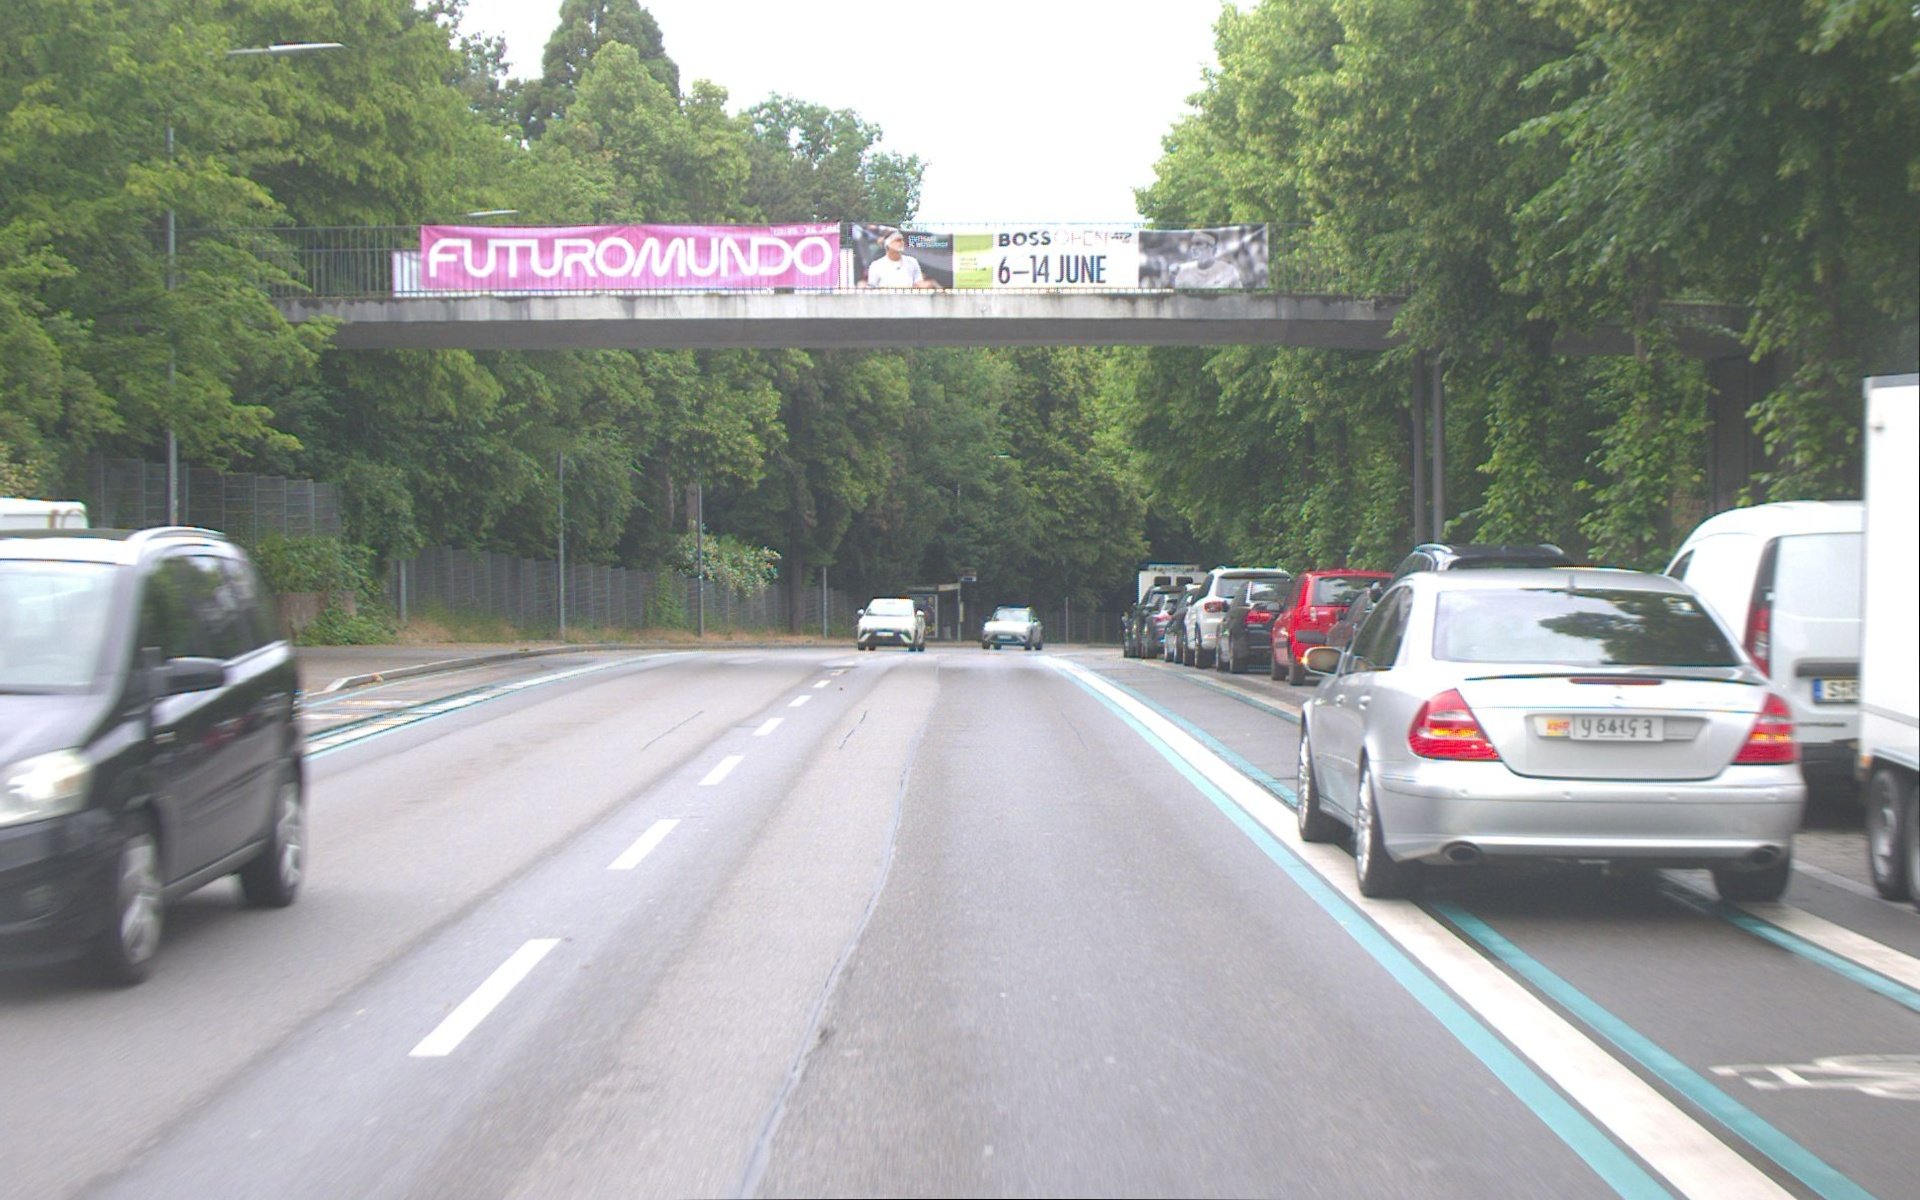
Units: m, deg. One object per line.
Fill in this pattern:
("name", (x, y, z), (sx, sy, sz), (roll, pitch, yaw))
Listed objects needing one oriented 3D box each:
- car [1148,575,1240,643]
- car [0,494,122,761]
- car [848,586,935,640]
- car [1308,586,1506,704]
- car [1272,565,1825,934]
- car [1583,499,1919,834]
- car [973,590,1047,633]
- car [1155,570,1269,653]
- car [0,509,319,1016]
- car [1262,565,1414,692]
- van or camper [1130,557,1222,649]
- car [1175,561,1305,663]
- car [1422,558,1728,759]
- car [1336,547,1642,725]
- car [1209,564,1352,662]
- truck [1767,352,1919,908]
("car", (4.928, 0.210, 72.823), (1.775, 1.344, 4.466), (1, -1, 2))
("car", (-7.818, 0.181, 25.004), (1.979, 1.908, 5.227), (0, 2, 2))
("car", (-2.006, 0.362, 101.790), (1.972, 1.547, 3.869), (0, 0, 8))
("car", (5.005, 0.474, 38.962), (1.625, 1.186, 4.184), (1, 1, -1))
("car", (2.542, 0.571, 15.928), (1.721, 1.393, 4.591), (0, 1, -1))
("car", (5.001, 0.316, 20.561), (1.722, 1.784, 4.346), (1, 1, 0))
("car", (1.898, 0.453, 129.454), (1.797, 1.571, 4.099), (0, -1, 16))
("car", (4.575, 0.236, 62.914), (1.718, 1.371, 4.558), (1, -2, 0))
("car", (-3.703, 0.491, 13.126), (1.710, 1.612, 4.150), (-2, 2, 0))
("car", (4.890, 0.339, 44.850), (1.559, 1.461, 3.626), (1, 2, 0))
("van or camper", (6.582, 0.112, 104.093), (2.317, 2.656, 6.380), (1, 0, 7))
("car", (4.626, 0.206, 57.287), (1.713, 1.613, 4.261), (1, -1, -1))
("car", (4.838, 0.404, 27.630), (1.660, 1.421, 4.618), (1, 1, 1))
("car", (5.005, 0.290, 33.183), (1.993, 1.555, 4.643), (1, 1, -3))
("car", (4.749, 0.229, 51.466), (1.672, 1.389, 4.450), (1, -1, 0))
("truck", (4.880, 0.118, 15.036), (1.719, 2.325, 4.000), (1, 1, 0))
